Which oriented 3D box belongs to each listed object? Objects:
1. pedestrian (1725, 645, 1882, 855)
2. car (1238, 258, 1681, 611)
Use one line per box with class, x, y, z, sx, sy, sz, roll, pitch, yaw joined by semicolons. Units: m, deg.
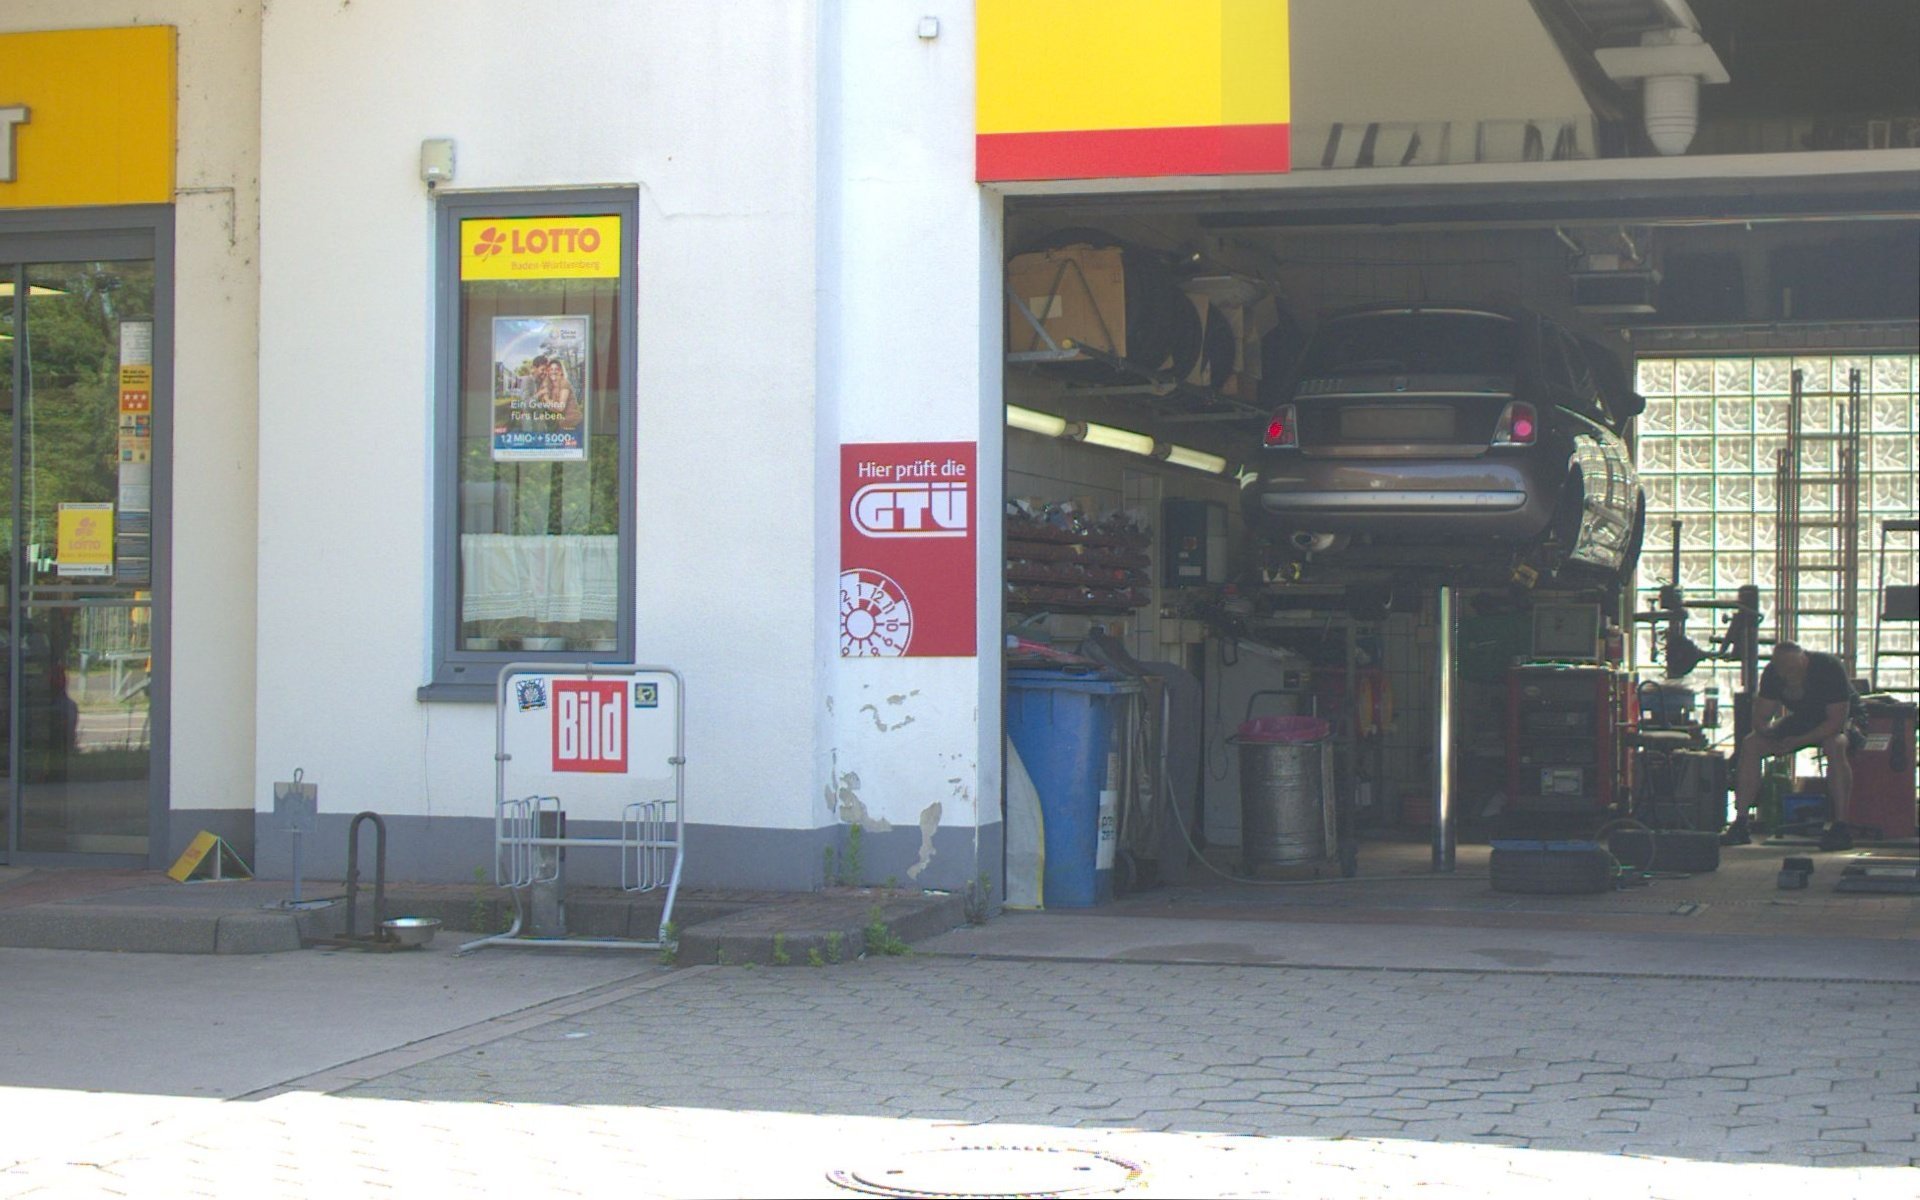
pedestrian;4.920;0.873;20.028;0.864;1.194;0.742;0;-3;15
car;2.741;-0.767;18.148;1.648;1.481;3.996;0;-3;18
